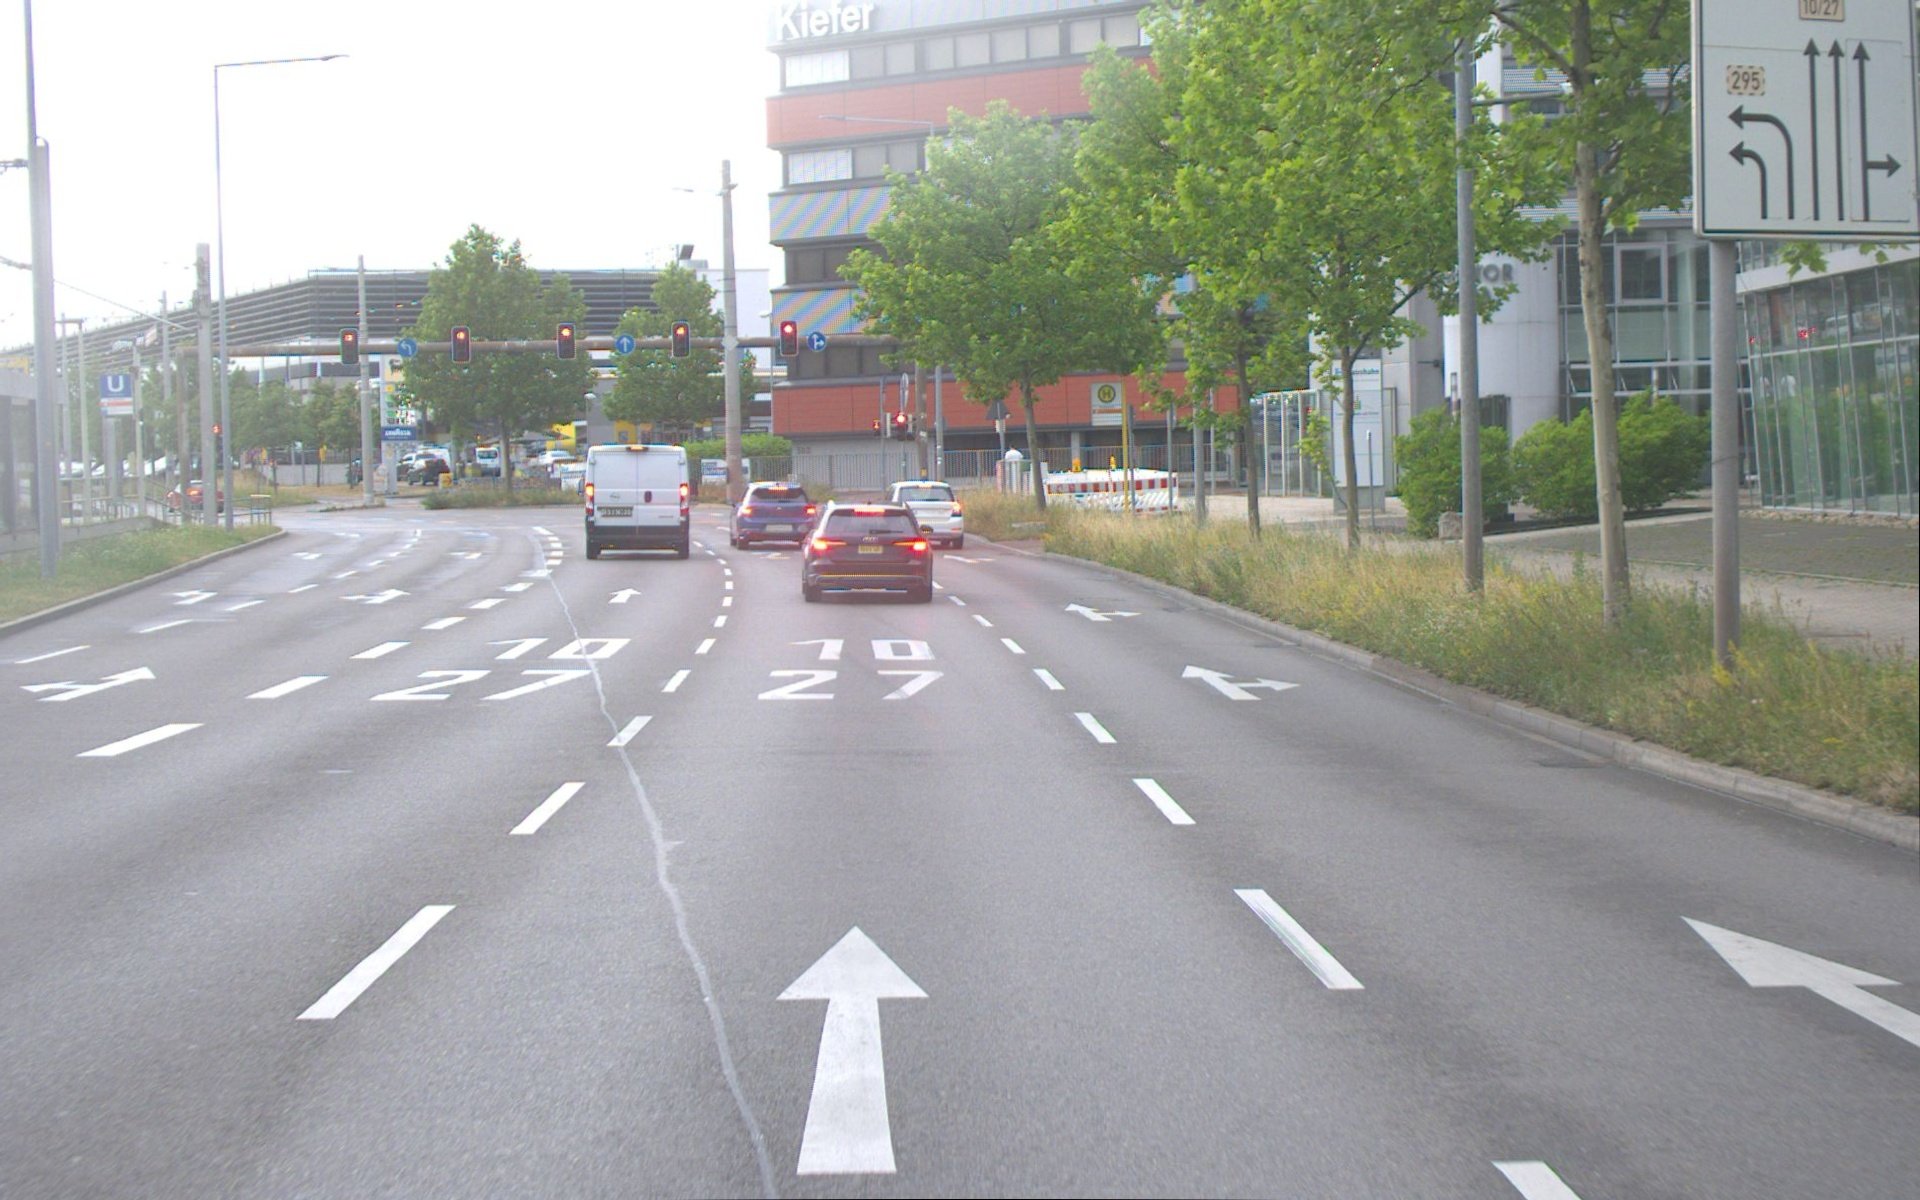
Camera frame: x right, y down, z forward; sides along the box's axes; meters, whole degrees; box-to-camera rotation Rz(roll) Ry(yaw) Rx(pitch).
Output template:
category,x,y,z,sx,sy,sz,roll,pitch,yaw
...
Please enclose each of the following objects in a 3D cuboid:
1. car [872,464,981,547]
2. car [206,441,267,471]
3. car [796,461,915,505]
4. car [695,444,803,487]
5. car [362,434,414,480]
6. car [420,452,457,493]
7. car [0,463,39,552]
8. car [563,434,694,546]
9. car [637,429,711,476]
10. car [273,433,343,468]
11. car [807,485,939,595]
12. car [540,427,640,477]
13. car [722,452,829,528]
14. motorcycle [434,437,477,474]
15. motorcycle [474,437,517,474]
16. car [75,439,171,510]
category,x,y,z,sx,sy,sz,roll,pitch,yaw
car,-0.763,-2.094,75.317,2.021,1.763,4.001,0,2,-6
car,-51.842,-10.296,246.417,3.986,2.007,2.000,0,-1,-23
car,-3.935,-4.393,129.464,4.322,1.617,2.023,1,2,43
car,-8.223,-5.231,133.961,3.997,1.617,2.023,1,2,43
car,-28.281,-7.055,169.957,1.993,2.007,4.001,0,-1,-17
car,-28.220,-6.894,186.057,1.817,2.007,3.471,0,-1,-12
car,-17.439,-1.596,60.149,1.993,1.448,3.848,0,0,-6
car,-6.627,-2.212,69.159,2.511,2.169,5.151,0,2,-5
car,-13.845,-7.123,166.330,1.993,2.007,4.000,0,-1,-31
car,-40.816,-9.364,215.228,3.986,2.007,2.000,0,-1,-23
car,-1.209,-0.894,49.444,1.764,1.458,4.627,1,2,0
car,-15.397,-6.150,143.089,3.997,2.007,1.995,2,1,43
car,-4.072,-2.390,75.363,2.021,1.617,4.001,0,1,-8
motorcycle,-30.721,-8.767,209.228,1.993,2.007,4.001,0,-1,-17
motorcycle,-28.372,-8.812,209.904,1.993,2.007,4.001,0,-1,-17
car,-22.740,-3.396,93.515,1.993,1.802,3.848,3,1,-6
